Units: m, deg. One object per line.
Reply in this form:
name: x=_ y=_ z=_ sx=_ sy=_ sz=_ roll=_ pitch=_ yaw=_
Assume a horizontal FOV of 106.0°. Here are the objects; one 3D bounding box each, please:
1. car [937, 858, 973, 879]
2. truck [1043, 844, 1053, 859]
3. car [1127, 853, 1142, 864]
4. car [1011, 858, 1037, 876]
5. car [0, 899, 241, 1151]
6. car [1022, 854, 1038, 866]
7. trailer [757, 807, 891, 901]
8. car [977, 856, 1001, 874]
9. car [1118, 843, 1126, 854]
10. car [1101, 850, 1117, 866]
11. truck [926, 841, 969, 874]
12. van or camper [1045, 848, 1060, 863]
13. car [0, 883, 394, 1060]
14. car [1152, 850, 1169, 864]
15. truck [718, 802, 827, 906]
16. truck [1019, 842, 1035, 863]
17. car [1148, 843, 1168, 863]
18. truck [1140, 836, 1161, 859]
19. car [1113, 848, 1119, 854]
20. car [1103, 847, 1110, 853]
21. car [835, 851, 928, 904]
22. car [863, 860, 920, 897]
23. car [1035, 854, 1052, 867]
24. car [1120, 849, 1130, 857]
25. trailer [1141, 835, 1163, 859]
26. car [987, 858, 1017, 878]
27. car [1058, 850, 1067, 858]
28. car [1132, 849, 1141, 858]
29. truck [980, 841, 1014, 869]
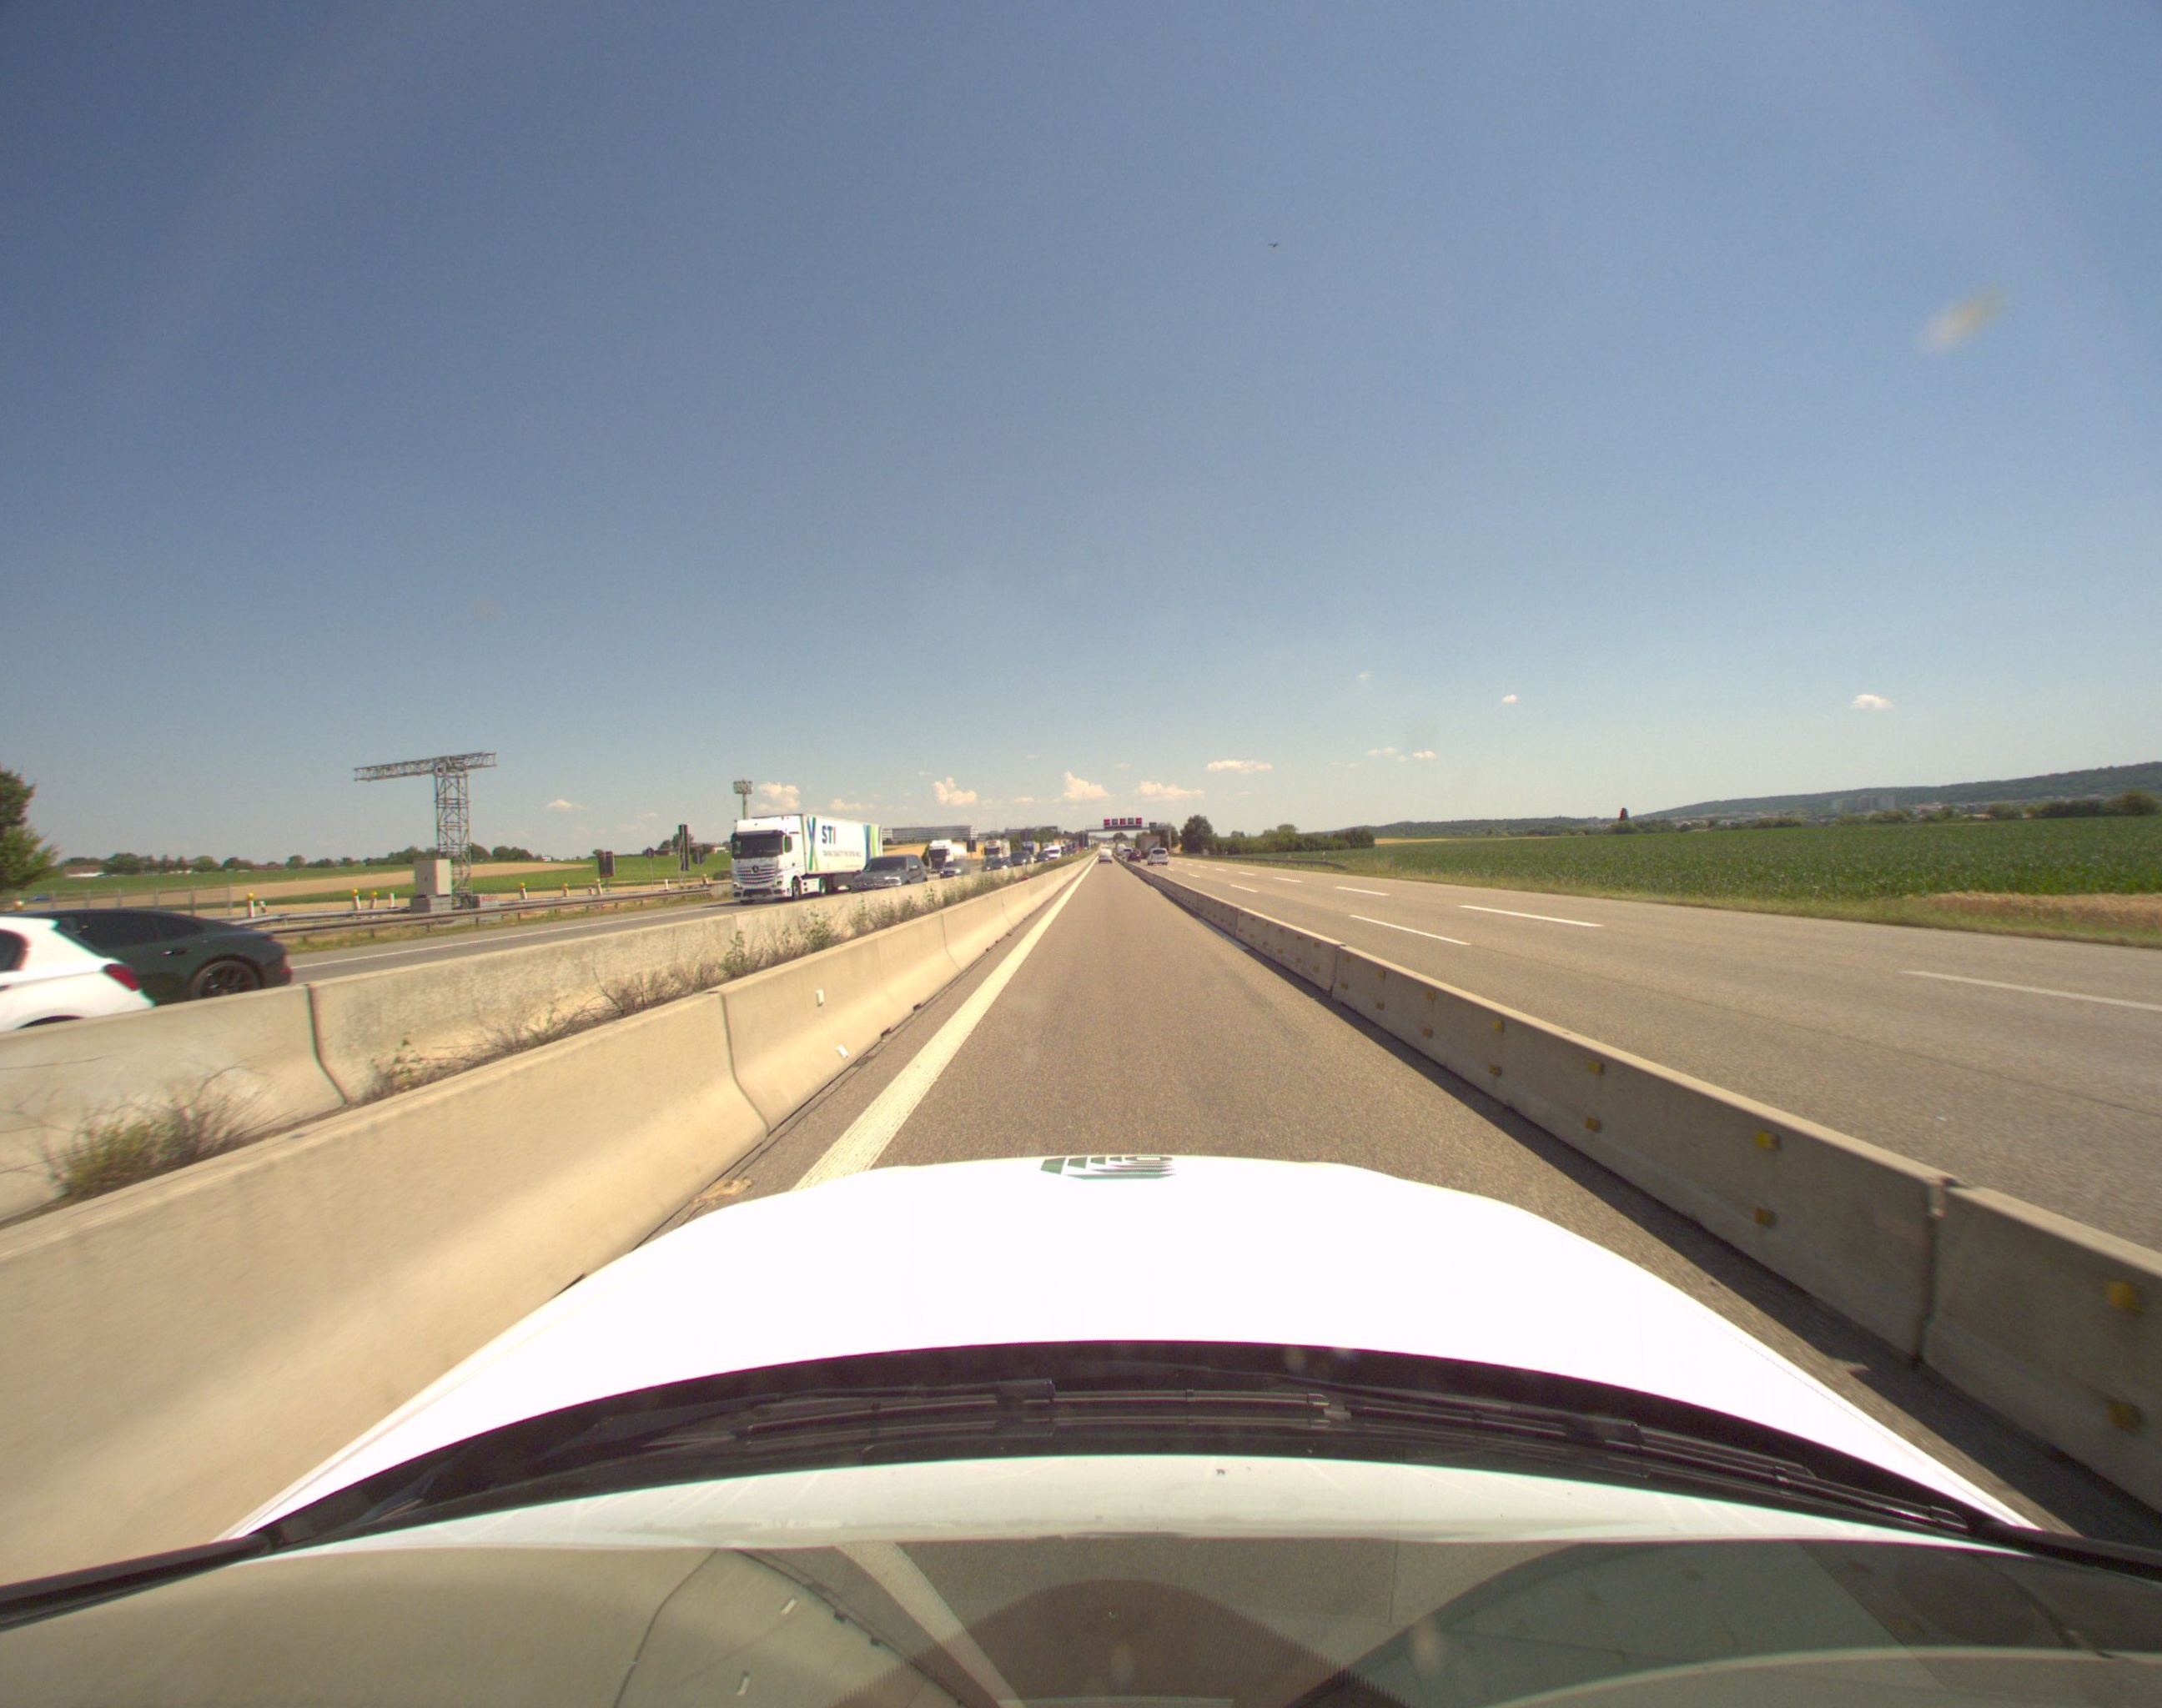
car: x=-9.668 y=1.099 z=63.010 sx=1.840 sy=1.482 sz=4.924 roll=-1 pitch=0 yaw=2
truck: x=-9.012 y=-0.660 z=222.210 sx=2.402 sy=4.086 sz=4.662 roll=-2 pitch=0 yaw=2
car: x=7.320 y=0.682 z=111.689 sx=1.767 sy=1.447 sz=4.001 roll=-1 pitch=0 yaw=1
car: x=-5.242 y=1.173 z=75.559 sx=1.836 sy=1.569 sz=5.347 roll=-1 pitch=0 yaw=2
car: x=-7.700 y=1.132 z=4.346 sx=1.668 sy=1.519 sz=4.509 roll=-1 pitch=0 yaw=1
car: x=-7.765 y=0.934 z=123.931 sx=1.880 sy=1.709 sz=5.521 roll=-4 pitch=0 yaw=0
trailer: x=-14.022 y=-0.004 z=46.143 sx=2.882 sy=4.375 sz=12.997 roll=-4 pitch=0 yaw=2
car: x=-9.017 y=1.022 z=80.070 sx=1.649 sy=1.651 sz=4.667 roll=-1 pitch=0 yaw=2
car: x=9.371 y=-1.293 z=187.757 sx=1.767 sy=2.392 sz=4.001 roll=-1 pitch=0 yaw=1
car: x=3.606 y=0.483 z=106.038 sx=1.986 sy=2.014 sz=4.001 roll=-1 pitch=0 yaw=1
truck: x=-16.859 y=0.412 z=104.237 sx=2.889 sy=3.776 sz=13.290 roll=-4 pitch=0 yaw=1
van or camper: x=-4.430 y=0.244 z=128.159 sx=2.028 sy=2.221 sz=7.210 roll=-1 pitch=0 yaw=1
car: x=-10.763 y=1.165 z=9.128 sx=1.805 sy=1.486 sz=4.964 roll=-1 pitch=0 yaw=1
car: x=10.566 y=0.425 z=108.465 sx=1.986 sy=1.794 sz=4.001 roll=-1 pitch=0 yaw=1
truck: x=-14.250 y=0.006 z=38.083 sx=2.860 sy=4.375 sz=4.904 roll=-4 pitch=0 yaw=1
truck: x=-11.090 y=-0.316 z=167.886 sx=2.800 sy=4.128 sz=4.843 roll=-2 pitch=0 yaw=1
car: x=8.509 y=-0.103 z=90.321 sx=1.986 sy=2.120 sz=4.001 roll=-1 pitch=0 yaw=1
truck: x=12.367 y=-1.106 z=145.540 sx=3.259 sy=3.967 sz=4.914 roll=-1 pitch=-1 yaw=1
car: x=11.230 y=-0.821 z=262.197 sx=1.986 sy=1.835 sz=4.001 roll=-1 pitch=0 yaw=1
car: x=7.790 y=-1.157 z=247.891 sx=1.986 sy=1.835 sz=4.001 roll=-1 pitch=0 yaw=1
car: x=-6.742 y=0.748 z=28.046 sx=1.883 sy=1.617 sz=4.822 roll=-1 pitch=0 yaw=1
car: x=-10.061 y=1.281 z=43.557 sx=1.986 sy=1.816 sz=4.001 roll=-1 pitch=0 yaw=1
car: x=-4.656 y=0.782 z=101.068 sx=1.775 sy=1.589 sz=4.543 roll=-1 pitch=0 yaw=2
car: x=7.904 y=-0.151 z=146.366 sx=1.767 sy=1.447 sz=4.001 roll=-1 pitch=0 yaw=1
trailer: x=12.252 y=-1.142 z=141.552 sx=3.265 sy=3.967 sz=9.115 roll=-1 pitch=0 yaw=1
car: x=-5.905 y=1.040 z=61.441 sx=1.649 sy=1.351 sz=4.268 roll=-1 pitch=0 yaw=2
car: x=-3.697 y=-0.033 z=164.661 sx=1.592 sy=1.469 sz=4.534 roll=-2 pitch=0 yaw=1
car: x=13.244 y=-0.164 z=195.644 sx=1.986 sy=2.014 sz=4.001 roll=-1 pitch=0 yaw=1
truck: x=-11.660 y=0.094 z=114.298 sx=2.784 sy=3.609 sz=13.295 roll=-4 pitch=0 yaw=2
